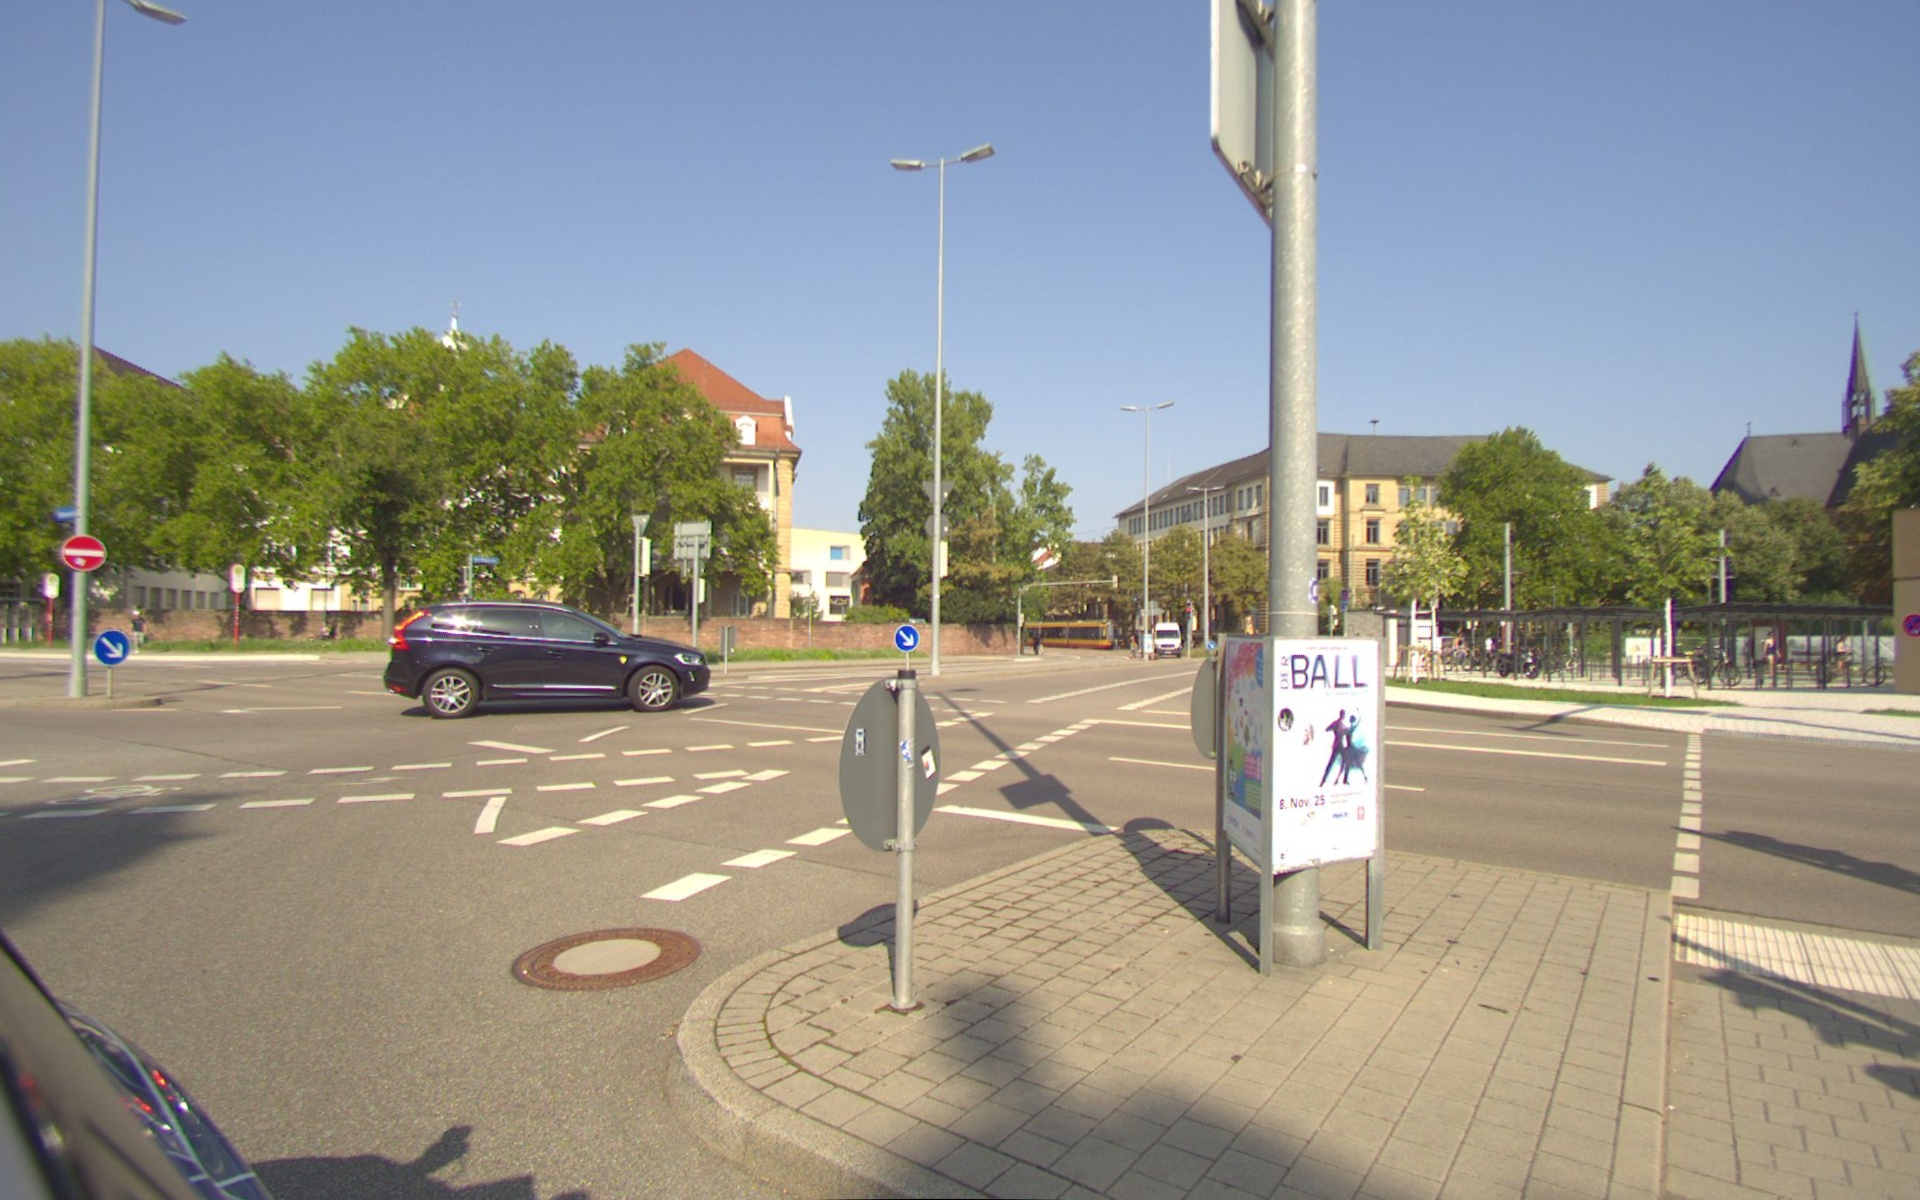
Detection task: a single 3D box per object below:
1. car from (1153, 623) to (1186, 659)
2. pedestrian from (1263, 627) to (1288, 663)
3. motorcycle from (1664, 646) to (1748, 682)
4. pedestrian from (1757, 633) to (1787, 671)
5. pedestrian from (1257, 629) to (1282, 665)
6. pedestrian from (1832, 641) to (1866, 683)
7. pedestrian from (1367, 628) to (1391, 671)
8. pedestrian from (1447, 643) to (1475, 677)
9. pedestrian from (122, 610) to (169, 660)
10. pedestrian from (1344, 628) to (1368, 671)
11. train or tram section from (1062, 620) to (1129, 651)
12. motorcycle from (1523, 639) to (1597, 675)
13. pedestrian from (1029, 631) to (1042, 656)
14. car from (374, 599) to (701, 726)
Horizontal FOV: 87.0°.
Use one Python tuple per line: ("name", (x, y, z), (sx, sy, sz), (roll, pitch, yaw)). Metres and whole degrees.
("car", (15.598, 3.004, 75.160), (1.982, 2.470, 5.523), (-1, 0, 16))
("pedestrian", (18.343, 2.625, 58.824), (1.205, 2.029, 1.331), (-1, -3, 25))
("motorcycle", (27.193, 2.315, 36.931), (0.746, 1.214, 2.382), (2, -3, -23))
("pedestrian", (30.929, 1.985, 38.534), (0.680, 1.419, 0.590), (1, -2, -18))
("pedestrian", (17.454, 2.636, 57.048), (1.205, 2.029, 1.331), (-1, -3, 25))
("pedestrian", (30.624, 2.118, 34.877), (0.680, 1.419, 0.590), (1, -2, -18))
("pedestrian", (20.124, 2.353, 48.634), (0.852, 2.029, 1.004), (0, -2, 8))
("pedestrian", (26.348, 3.140, 53.216), (0.847, 1.774, 1.010), (2, -3, -28))
("pedestrian", (-33.799, 1.425, 41.979), (1.312, 2.029, 1.069), (-1, -2, 28))
("pedestrian", (19.161, 2.400, 48.939), (0.852, 2.029, 1.004), (0, -2, 8))
("train or tram section", (16.202, 4.190, 122.303), (2.591, 3.241, 13.931), (-1, 0, -16))
("motorcycle", (25.474, 2.404, 43.011), (0.776, 1.460, 2.779), (1, -2, -22))
("pedestrian", (6.296, 3.616, 84.813), (0.807, 2.029, 0.820), (-1, 0, -20))
("car", (-6.212, 0.856, 15.360), (4.297, 1.645, 2.006), (-1, 0, -17))
